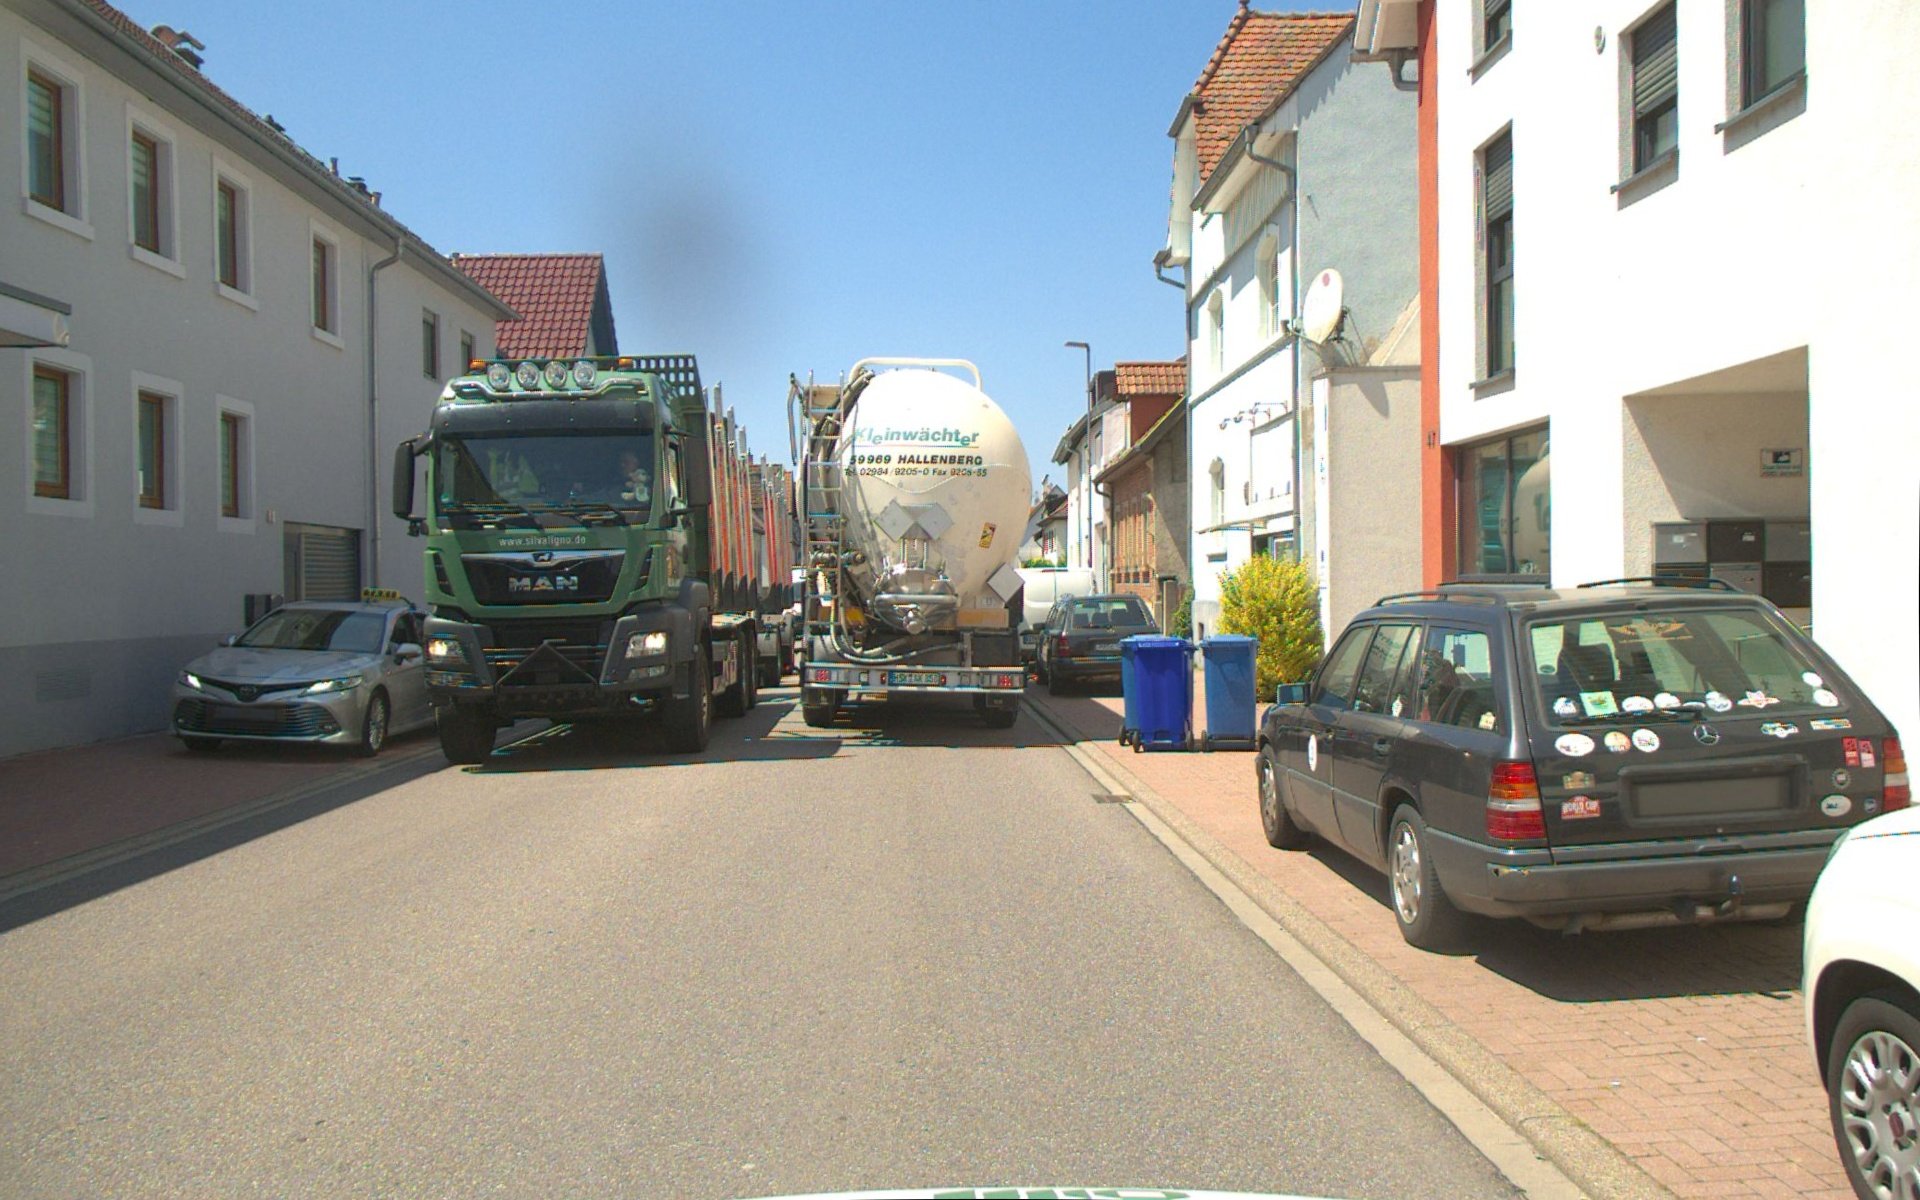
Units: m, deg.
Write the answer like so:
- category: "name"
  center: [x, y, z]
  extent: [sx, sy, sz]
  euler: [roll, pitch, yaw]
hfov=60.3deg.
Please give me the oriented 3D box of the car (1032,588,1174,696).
- category: "car"
  center: [2.148, 0.578, 25.938]
  extent: [1.734, 1.491, 4.577]
  euler: [-1, 1, -1]

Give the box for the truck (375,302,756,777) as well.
- category: "truck"
  center: [-3.864, -0.549, 17.876]
  extent: [2.566, 4.055, 6.849]
  euler: [-2, 0, -2]

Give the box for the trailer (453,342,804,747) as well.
- category: "trailer"
  center: [-4.130, -0.609, 24.816]
  extent: [2.578, 4.048, 15.691]
  euler: [-2, 0, -2]

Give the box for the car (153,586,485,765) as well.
- category: "car"
  center: [-6.489, 0.675, 17.352]
  extent: [1.772, 1.584, 4.563]
  euler: [2, 0, -2]

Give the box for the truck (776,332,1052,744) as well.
- category: "truck"
  center: [-0.583, -0.604, 20.365]
  extent: [2.677, 4.029, 8.138]
  euler: [1, 0, -2]

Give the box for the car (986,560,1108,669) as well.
- category: "car"
  center: [1.693, 0.253, 33.778]
  extent: [1.907, 2.005, 4.782]
  euler: [-1, 0, -3]

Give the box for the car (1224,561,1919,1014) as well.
- category: "car"
  center: [2.623, 0.628, 8.155]
  extent: [1.666, 1.472, 4.835]
  euler: [-3, 0, -2]

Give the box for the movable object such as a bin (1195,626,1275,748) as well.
- category: "movable object such as a bin"
  center: [2.609, 0.813, 15.667]
  extent: [0.640, 1.078, 0.836]
  euler: [-2, 0, 14]

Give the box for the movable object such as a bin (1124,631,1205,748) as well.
- category: "movable object such as a bin"
  center: [1.961, 0.843, 15.811]
  extent: [0.641, 1.053, 0.685]
  euler: [-2, 0, 14]

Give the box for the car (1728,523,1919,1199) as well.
- category: "car"
  center: [2.873, 0.571, 2.561]
  extent: [1.574, 1.548, 3.544]
  euler: [-3, 0, -2]

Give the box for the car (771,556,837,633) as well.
- category: "car"
  center: [-5.585, -0.202, 59.797]
  extent: [2.083, 2.586, 5.458]
  euler: [-2, 1, -3]

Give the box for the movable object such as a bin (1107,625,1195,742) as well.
- category: "movable object such as a bin"
  center: [1.920, 0.821, 16.536]
  extent: [0.707, 1.092, 0.973]
  euler: [-2, 0, 14]
